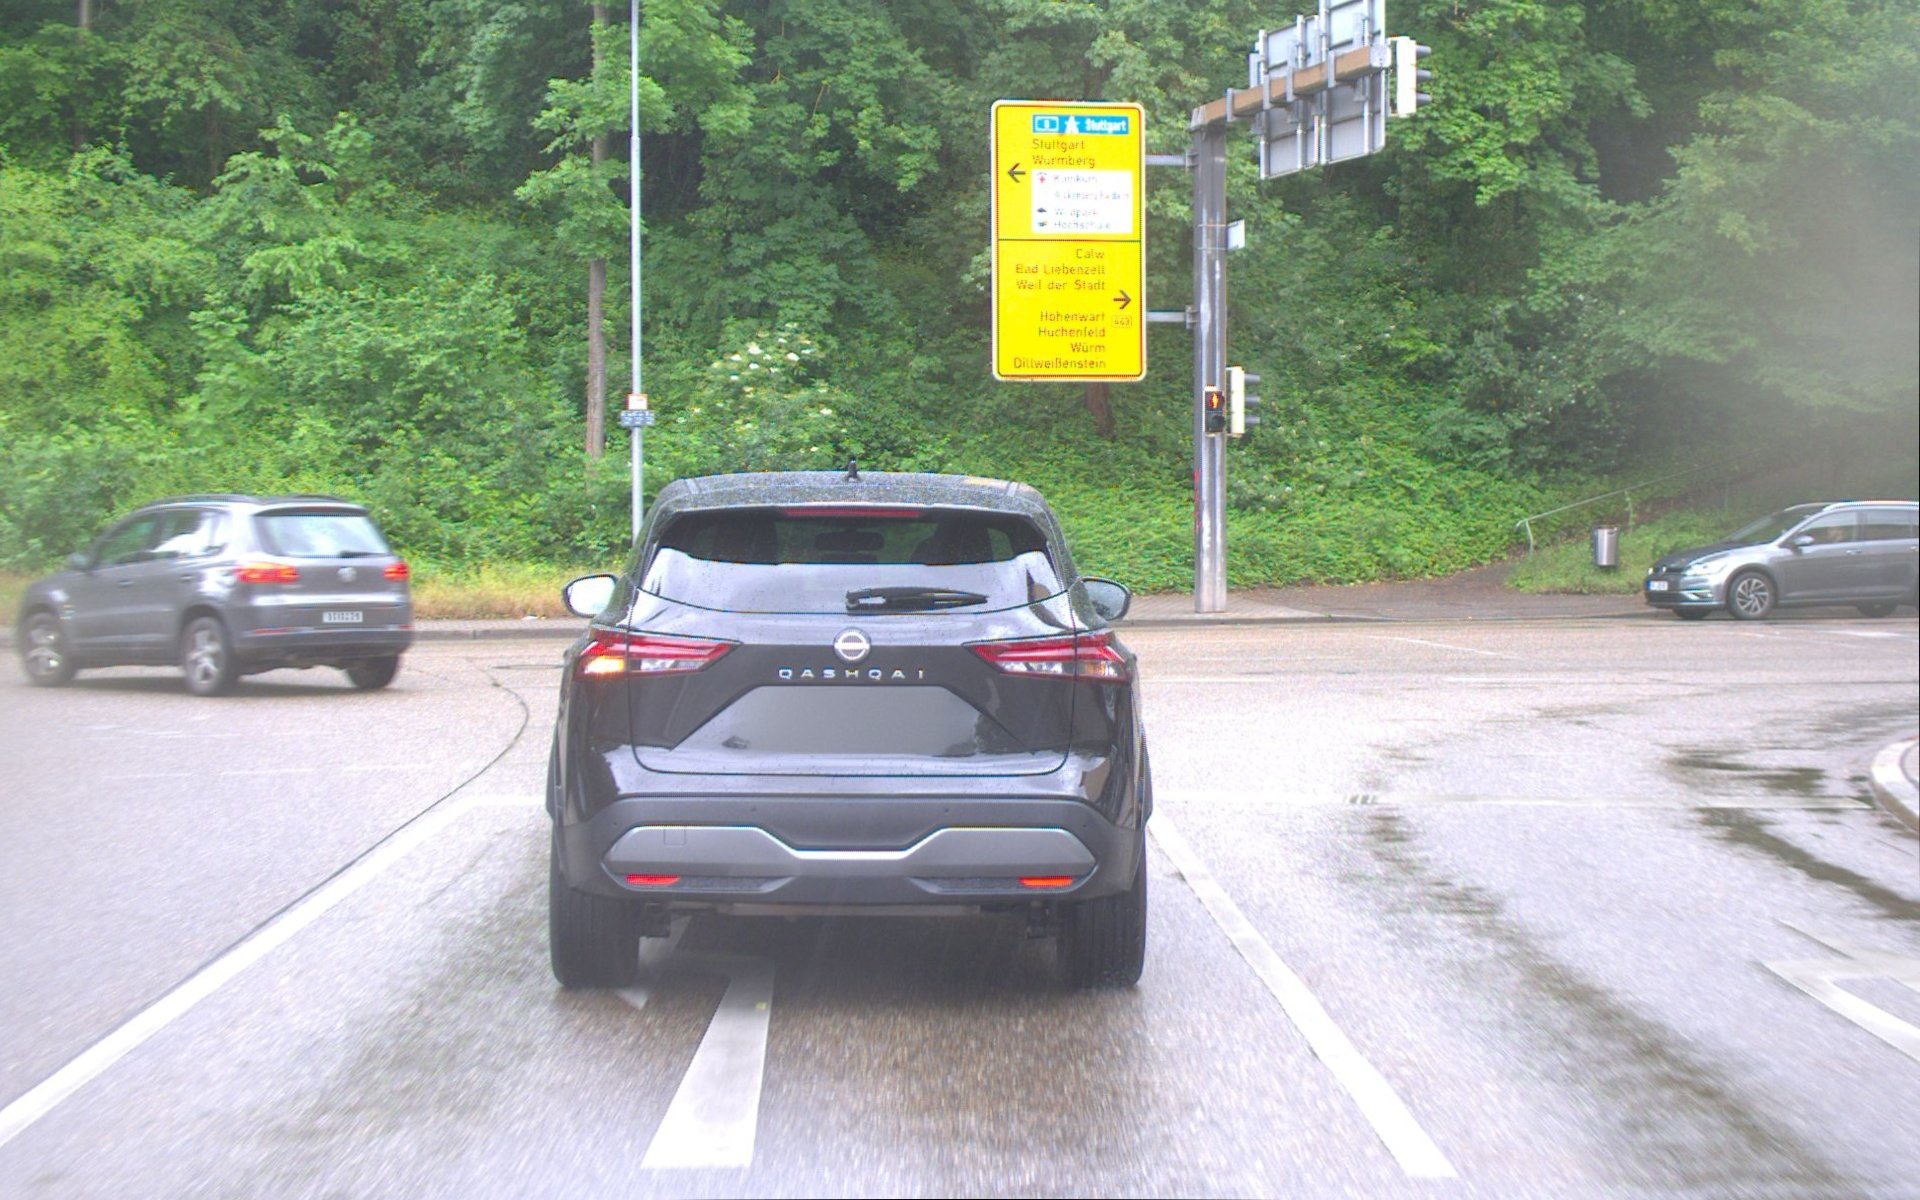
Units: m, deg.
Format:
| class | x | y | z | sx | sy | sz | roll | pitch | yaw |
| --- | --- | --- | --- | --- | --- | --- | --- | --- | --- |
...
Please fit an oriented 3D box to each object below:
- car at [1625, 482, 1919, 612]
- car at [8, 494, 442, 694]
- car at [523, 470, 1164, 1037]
| class | x | y | z | sx | sy | sz | roll | pitch | yaw |
| --- | --- | --- | --- | --- | --- | --- | --- | --- | --- |
| car | 10.865 | -0.704 | 43.655 | 4.323 | 1.497 | 1.884 | -2 | 2 | -12 |
| car | -6.380 | -0.107 | 29.607 | 1.812 | 1.597 | 3.998 | -1 | 2 | -44 |
| car | -0.452 | 0.366 | 11.721 | 1.810 | 1.597 | 4.001 | 0 | 2 | -4 |
